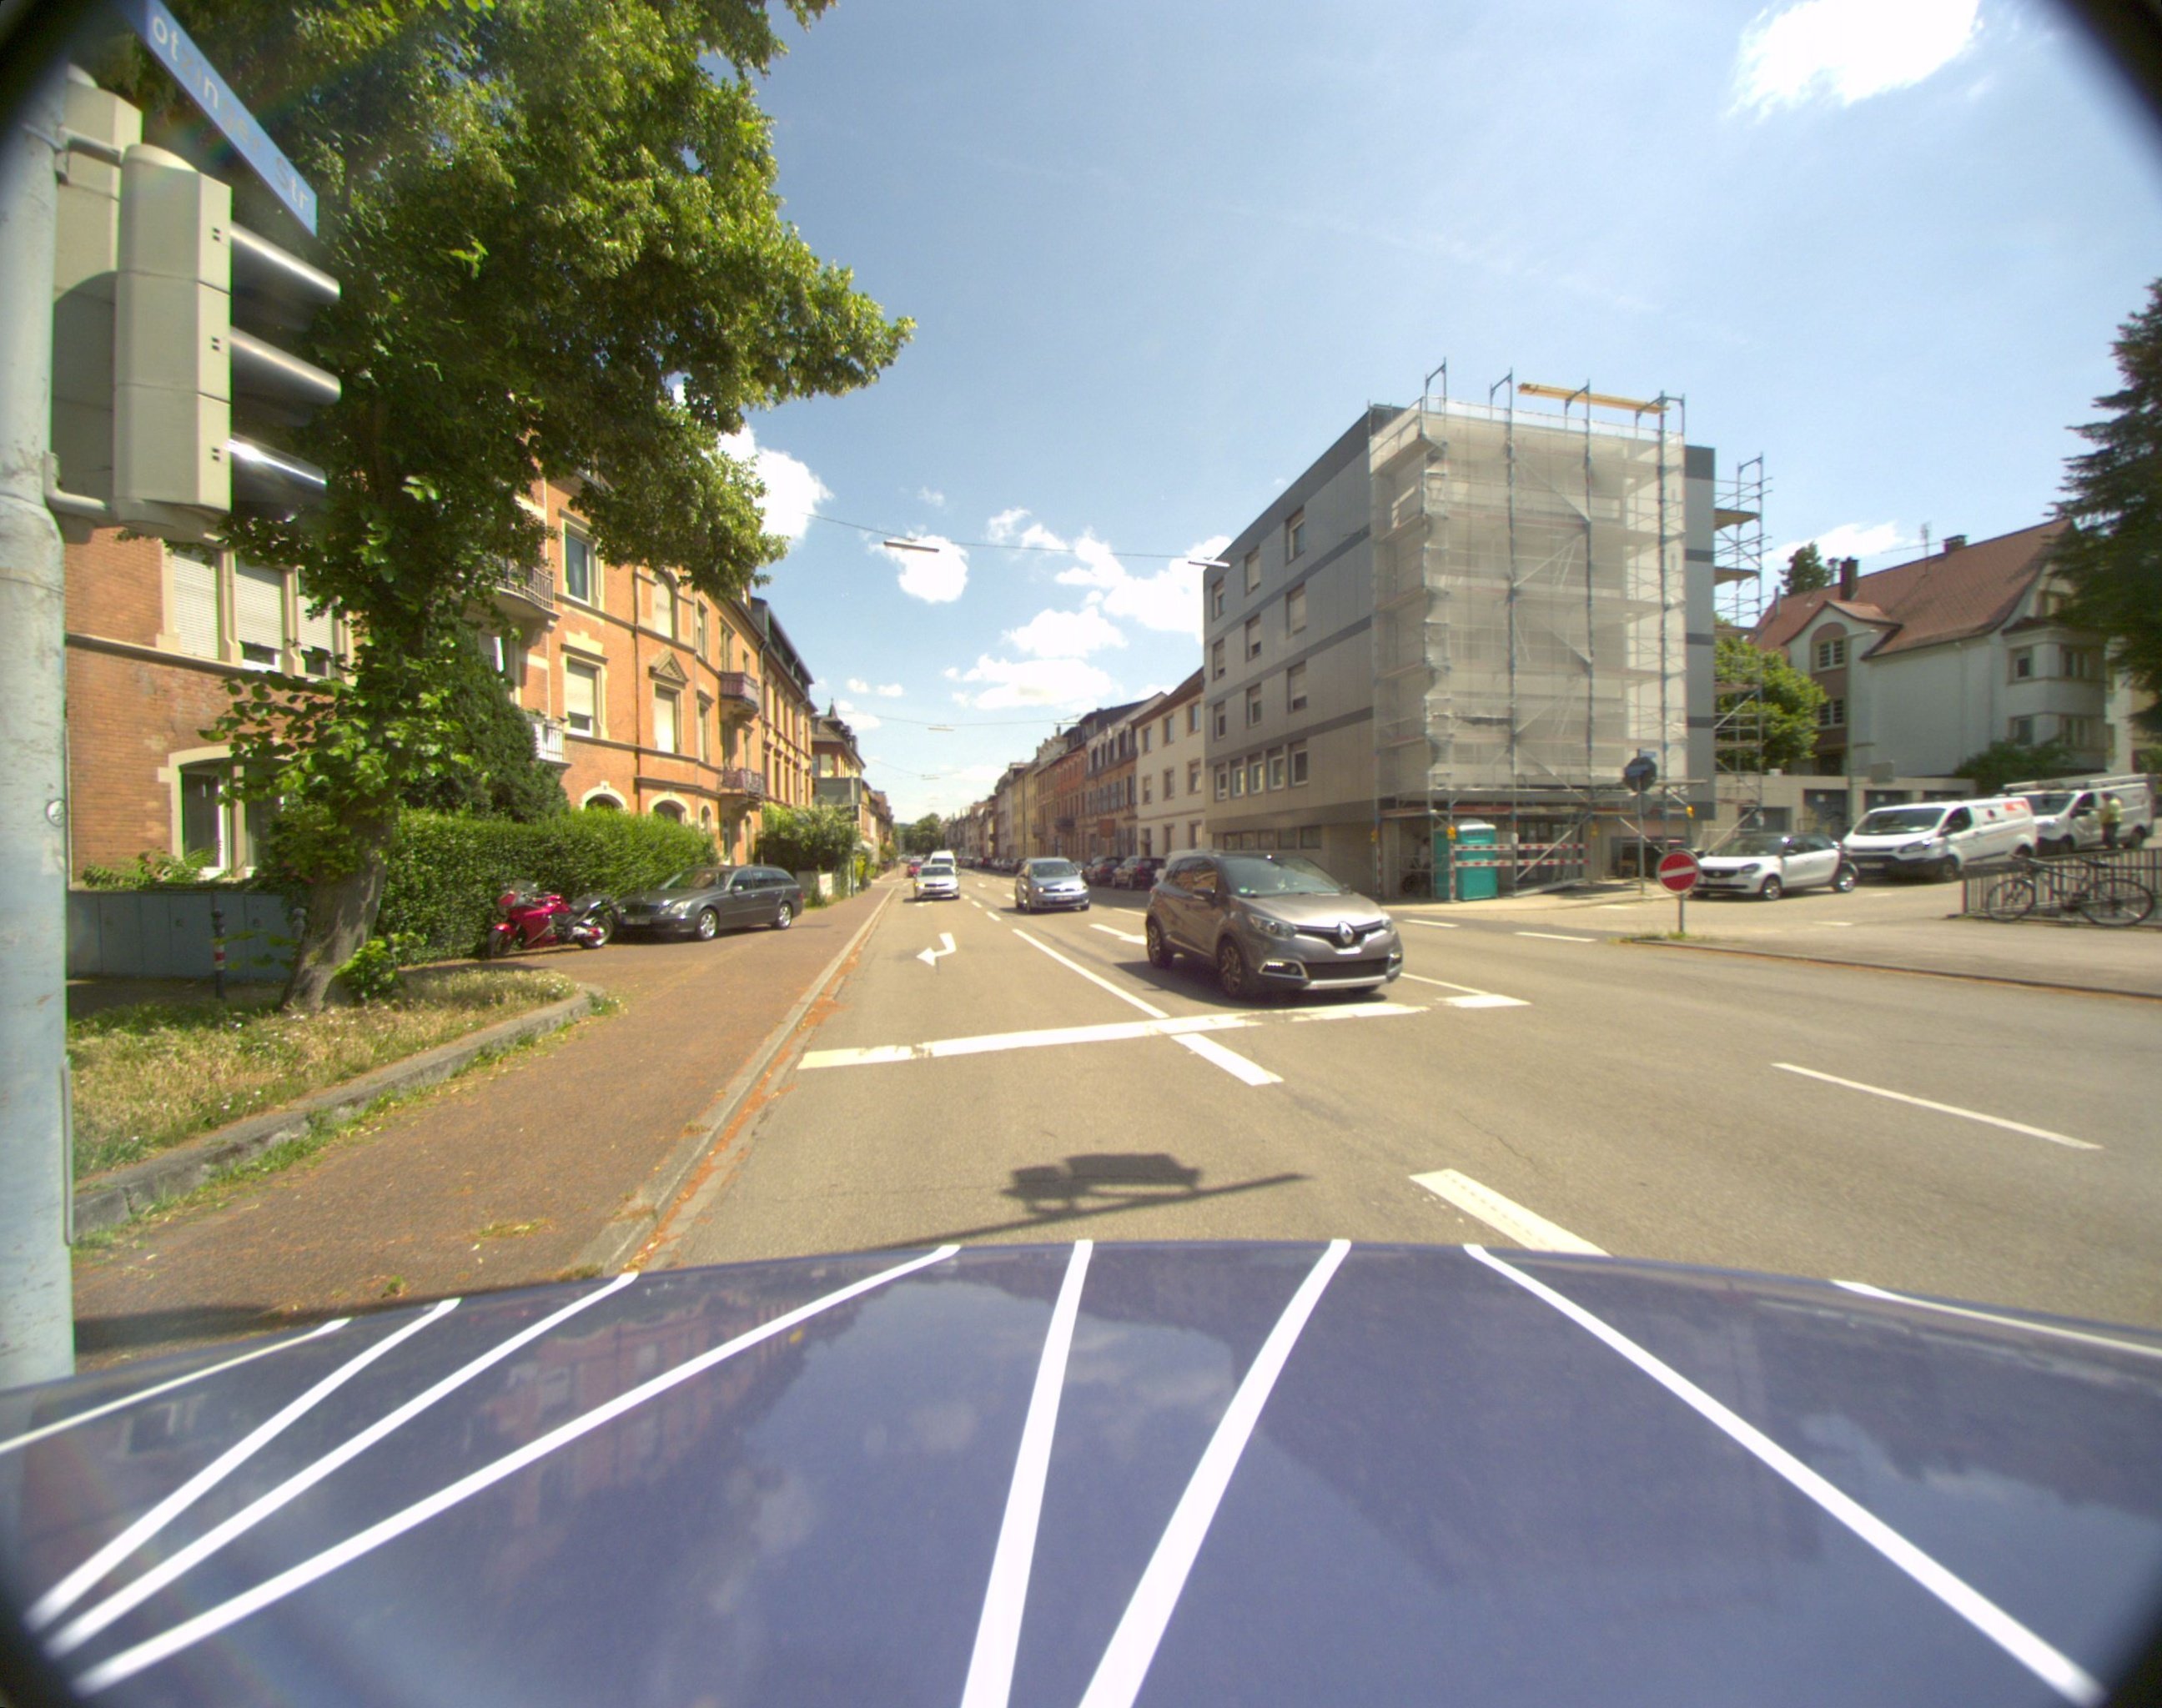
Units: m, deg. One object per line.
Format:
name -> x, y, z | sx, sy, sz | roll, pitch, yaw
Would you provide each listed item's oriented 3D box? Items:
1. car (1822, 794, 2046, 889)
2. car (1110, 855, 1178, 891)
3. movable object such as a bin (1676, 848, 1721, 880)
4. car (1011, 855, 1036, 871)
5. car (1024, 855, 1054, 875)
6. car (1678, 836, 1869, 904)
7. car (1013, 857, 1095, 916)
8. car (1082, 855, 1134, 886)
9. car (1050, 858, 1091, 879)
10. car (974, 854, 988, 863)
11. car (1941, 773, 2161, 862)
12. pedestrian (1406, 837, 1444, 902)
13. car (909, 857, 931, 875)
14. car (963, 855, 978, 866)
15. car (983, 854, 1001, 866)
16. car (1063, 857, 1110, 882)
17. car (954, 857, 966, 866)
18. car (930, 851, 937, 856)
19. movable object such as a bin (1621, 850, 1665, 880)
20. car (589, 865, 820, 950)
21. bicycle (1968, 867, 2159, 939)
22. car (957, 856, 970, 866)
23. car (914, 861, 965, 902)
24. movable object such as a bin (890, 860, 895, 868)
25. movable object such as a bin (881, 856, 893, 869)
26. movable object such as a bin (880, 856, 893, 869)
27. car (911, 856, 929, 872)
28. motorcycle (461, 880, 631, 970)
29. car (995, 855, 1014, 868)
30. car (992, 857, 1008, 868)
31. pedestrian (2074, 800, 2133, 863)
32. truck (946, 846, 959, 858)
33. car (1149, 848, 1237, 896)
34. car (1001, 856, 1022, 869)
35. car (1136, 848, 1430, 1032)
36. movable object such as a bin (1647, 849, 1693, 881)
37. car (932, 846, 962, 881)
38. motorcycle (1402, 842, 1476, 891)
car -> 22.366, -0.345, 19.945 | 5.015, 2.002, 1.997 | -5, 1, -18
car -> 2.989, 0.865, 37.076 | 1.892, 1.631, 4.657 | 0, 0, -14
movable object such as a bin -> 18.225, 0.286, 22.444 | 0.741, 0.921, 0.703 | -2, 1, -11
car -> -6.056, 0.964, 79.839 | 1.872, 1.542, 4.495 | 2, 0, -14
car -> -3.832, 0.979, 68.774 | 1.872, 1.618, 4.494 | 2, 0, -14
car -> 17.068, 0.362, 18.764 | 3.741, 1.439, 1.755 | -3, 0, -16
car -> -0.907, 0.896, 22.811 | 1.760, 1.559, 3.996 | -2, 0, -12
car -> 1.461, 0.894, 43.194 | 1.891, 1.631, 4.812 | 0, 0, -12
car -> -0.796, 1.018, 55.386 | 1.872, 1.398, 4.324 | 2, 0, -16
car -> -17.086, 0.760, 129.605 | 1.751, 1.402, 4.098 | 2, 0, -15
car -> 28.478, -1.053, 22.343 | 5.013, 2.165, 2.072 | -5, 1, -14
pedestrian -> 10.069, 0.446, 22.235 | 0.791, 1.822, 0.706 | -3, 1, -41
car -> -15.010, 1.115, 70.757 | 1.764, 1.470, 3.778 | -3, 1, -15
car -> -15.167, 0.864, 104.194 | 1.707, 1.565, 4.307 | 0, 0, -12
car -> -12.384, 0.797, 106.271 | 1.748, 1.579, 3.954 | 2, 0, 4
car -> 0.301, 0.987, 50.105 | 1.872, 1.398, 4.831 | 2, 0, -15
car -> -21.223, 1.333, 133.321 | 1.766, 1.486, 4.240 | 0, 0, -13
car -> -43.160, -0.208, 222.717 | 1.710, 1.470, 3.926 | -3, 1, -12
movable object such as a bin -> 17.950, 0.345, 24.273 | 0.741, 0.921, 0.825 | -2, 1, -11
car -> -7.713, 1.010, 16.295 | 1.838, 1.539, 5.160 | -1, -1, 8
bicycle -> 14.569, 0.689, 11.340 | 0.398, 0.961, 1.716 | -2, 0, -17
car -> -17.810, 0.985, 114.897 | 1.707, 1.469, 4.129 | 0, 0, -12
car -> -5.823, 1.078, 31.471 | 1.906, 1.489, 4.483 | -1, 1, -9
movable object such as a bin -> -21.886, 1.158, 88.243 | 0.627, 0.923, 0.611 | -1, 1, -13
movable object such as a bin -> -21.444, 0.916, 83.989 | 1.286, 1.388, 1.363 | -1, 1, -11
movable object such as a bin -> -21.137, 0.945, 82.608 | 1.286, 1.388, 1.411 | -1, 1, -11
car -> -17.137, 1.035, 81.135 | 1.763, 1.542, 4.061 | -3, 1, -11
motorcycle -> -8.605, 1.088, 12.388 | 0.932, 1.294, 2.283 | -1, -1, 9
car -> -9.624, 0.908, 95.242 | 1.872, 1.542, 4.308 | 2, 0, -12
car -> -10.694, 1.125, 99.900 | 1.751, 1.402, 3.910 | 2, 0, -11
pedestrian -> 28.164, -0.615, 20.937 | 0.712, 1.704, 0.742 | -2, 1, -10
truck -> -30.095, -0.577, 177.793 | 2.326, 2.725, 8.058 | -1, 0, -13
car -> 4.476, 0.675, 31.295 | 1.921, 1.815, 4.782 | 0, 0, -14
car -> -8.170, 0.984, 88.811 | 1.912, 1.443, 4.681 | 2, 0, -12
car -> 2.073, 0.796, 9.085 | 1.760, 1.622, 3.996 | -2, 0, -11
movable object such as a bin -> 18.041, 0.335, 23.278 | 0.741, 0.921, 0.825 | -2, 1, -11
car -> -9.319, 0.615, 52.934 | 1.906, 2.261, 5.667 | -1, 1, -9
motorcycle -> 11.278, 0.394, 23.975 | 2.038, 1.463, 0.883 | -2, 1, 26
